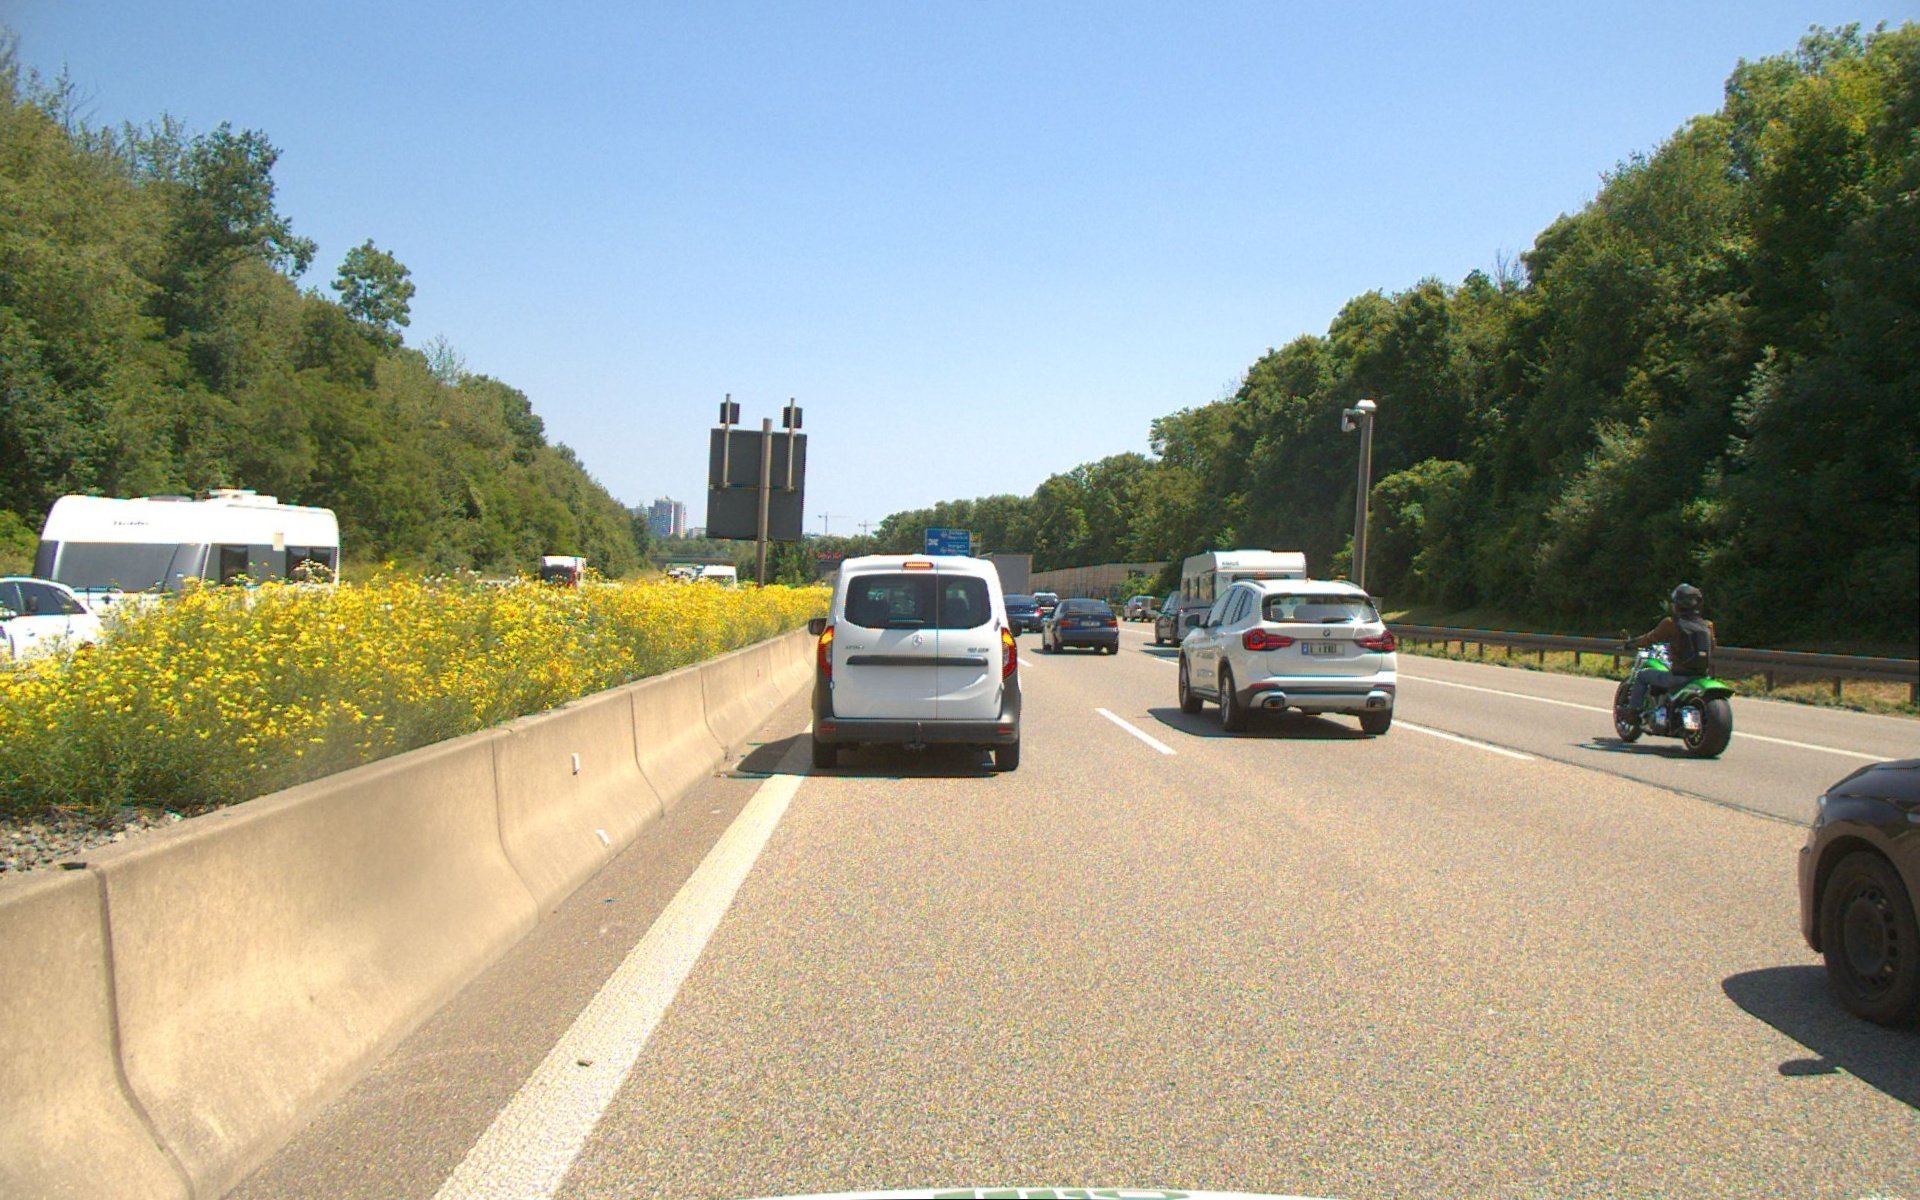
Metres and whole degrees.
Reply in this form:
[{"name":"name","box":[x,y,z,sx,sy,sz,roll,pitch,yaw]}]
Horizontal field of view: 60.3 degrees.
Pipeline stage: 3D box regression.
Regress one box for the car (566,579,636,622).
[{"name":"car","box":[-14.225,0.001,65.764,1.953,1.602,3.999,1,0,-1]}]

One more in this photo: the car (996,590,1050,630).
[{"name":"car","box":[2.355,0.362,62.720,1.787,1.449,3.999,1,0,-1]}]

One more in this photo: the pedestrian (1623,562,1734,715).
[{"name":"pedestrian","box":[7.265,0.377,16.753,0.834,1.504,0.638,1,1,3]}]

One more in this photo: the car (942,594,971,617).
[{"name":"car","box":[-0.216,0.342,107.687,1.787,1.472,3.999,1,0,-1]}]

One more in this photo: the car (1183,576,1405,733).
[{"name":"car","box":[3.805,0.568,19.493,1.832,1.636,3.879,1,0,0]}]

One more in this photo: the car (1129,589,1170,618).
[{"name":"car","box":[10.519,0.150,91.848,1.752,1.545,3.999,1,0,-1]}]

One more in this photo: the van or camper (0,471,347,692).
[{"name":"van or camper","box":[-11.262,-0.260,23.940,2.262,2.682,7.396,1,0,-2]}]

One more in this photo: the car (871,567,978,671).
[{"name":"car","box":[-0.694,0.336,32.494,1.953,1.892,3.999,1,0,-1]}]

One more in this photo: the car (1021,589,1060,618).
[{"name":"car","box":[4.310,0.172,89.307,1.787,1.449,3.999,1,0,-1]}]

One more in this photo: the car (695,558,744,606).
[{"name":"car","box":[-13.456,-0.977,92.952,1.953,2.586,5.907,1,0,-1]}]

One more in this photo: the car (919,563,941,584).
[{"name":"car","box":[-3.054,-2.676,167.936,1.955,2.049,3.996,1,0,-5]}]

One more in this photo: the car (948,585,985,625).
[{"name":"car","box":[0.323,0.231,86.933,1.787,2.024,3.999,1,0,-1]}]

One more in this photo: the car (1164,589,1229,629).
[{"name":"car","box":[8.956,0.318,62.918,1.787,1.449,3.999,1,0,-1]}]

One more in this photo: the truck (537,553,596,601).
[{"name":"truck","box":[-26.002,-1.487,109.537,2.358,3.058,7.456,1,0,-3]}]

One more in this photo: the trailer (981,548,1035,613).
[{"name":"trailer","box":[3.124,-1.268,110.253,3.019,4.055,10.320,1,0,-1]}]

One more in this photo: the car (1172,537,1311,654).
[{"name":"car","box":[7.246,-0.131,43.379,2.429,2.814,6.218,1,0,-1]}]

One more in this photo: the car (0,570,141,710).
[{"name":"car","box":[-10.859,0.397,17.925,1.720,1.464,4.608,1,0,-1]}]

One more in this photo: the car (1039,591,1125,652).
[{"name":"car","box":[3.081,0.510,42.407,1.787,1.449,3.999,1,0,-1]}]

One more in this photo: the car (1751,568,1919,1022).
[{"name":"car","box":[4.211,0.703,4.566,1.801,1.539,4.400,1,1,-2]}]

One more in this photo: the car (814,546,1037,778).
[{"name":"car","box":[-0.341,0.485,15.306,1.766,1.839,3.999,1,0,-2]}]

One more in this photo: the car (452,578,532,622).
[{"name":"car","box":[-17.547,-0.016,62.185,1.953,1.602,3.999,1,0,-1]}]

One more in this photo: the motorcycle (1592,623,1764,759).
[{"name":"motorcycle","box":[7.254,0.880,16.842,0.841,1.202,2.277,1,1,3]}]

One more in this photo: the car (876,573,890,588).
[{"name":"car","box":[-11.260,-2.869,243.225,1.953,2.049,3.999,1,0,-1]}]

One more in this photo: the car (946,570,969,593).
[{"name":"car","box":[-0.254,-1.718,151.271,1.953,2.049,3.999,1,0,-1]}]
